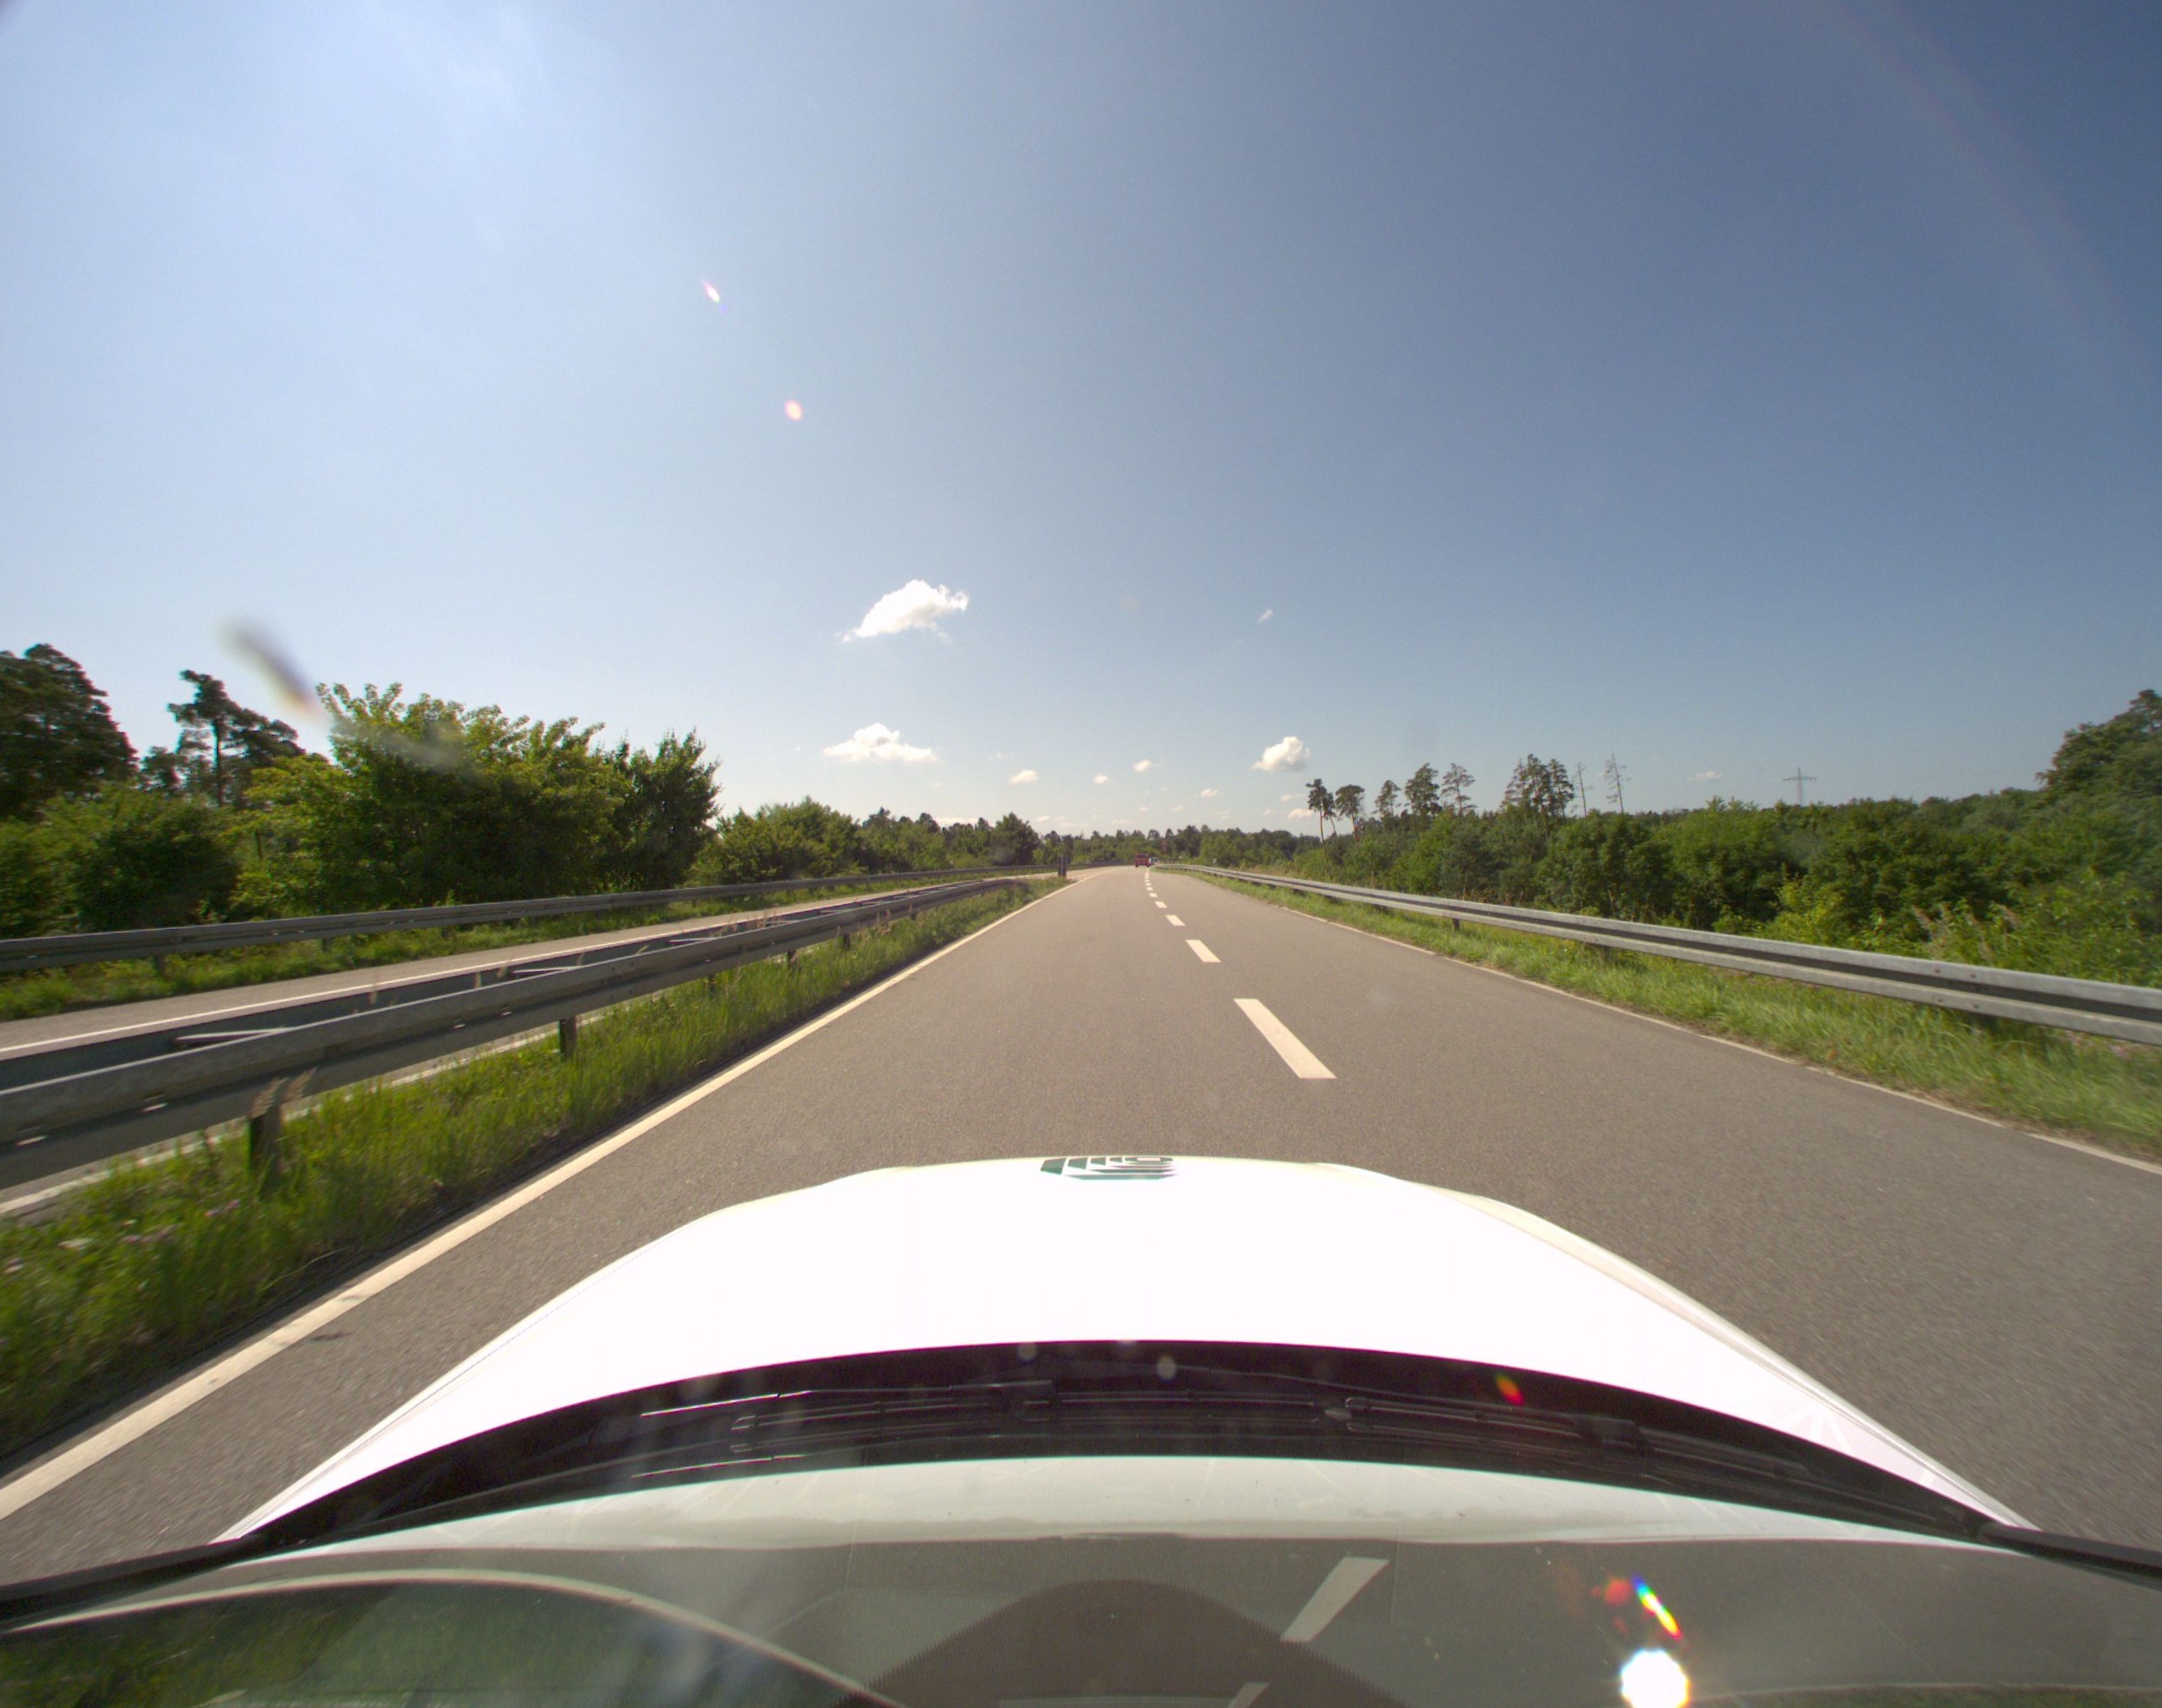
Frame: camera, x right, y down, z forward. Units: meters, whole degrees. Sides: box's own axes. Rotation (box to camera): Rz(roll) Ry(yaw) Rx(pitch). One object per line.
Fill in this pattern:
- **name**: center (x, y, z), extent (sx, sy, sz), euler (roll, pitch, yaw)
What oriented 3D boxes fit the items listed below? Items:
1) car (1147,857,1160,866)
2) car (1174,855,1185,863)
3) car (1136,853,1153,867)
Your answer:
- **car**: center (12.482, 1.249, 139.722), extent (1.995, 1.494, 4.249), euler (0, -1, 9)
- **car**: center (23.539, 1.215, 194.598), extent (2.170, 1.955, 5.823), euler (0, -1, 13)
- **car**: center (9.215, 0.868, 118.101), extent (2.065, 1.993, 5.124), euler (0, -1, 9)
